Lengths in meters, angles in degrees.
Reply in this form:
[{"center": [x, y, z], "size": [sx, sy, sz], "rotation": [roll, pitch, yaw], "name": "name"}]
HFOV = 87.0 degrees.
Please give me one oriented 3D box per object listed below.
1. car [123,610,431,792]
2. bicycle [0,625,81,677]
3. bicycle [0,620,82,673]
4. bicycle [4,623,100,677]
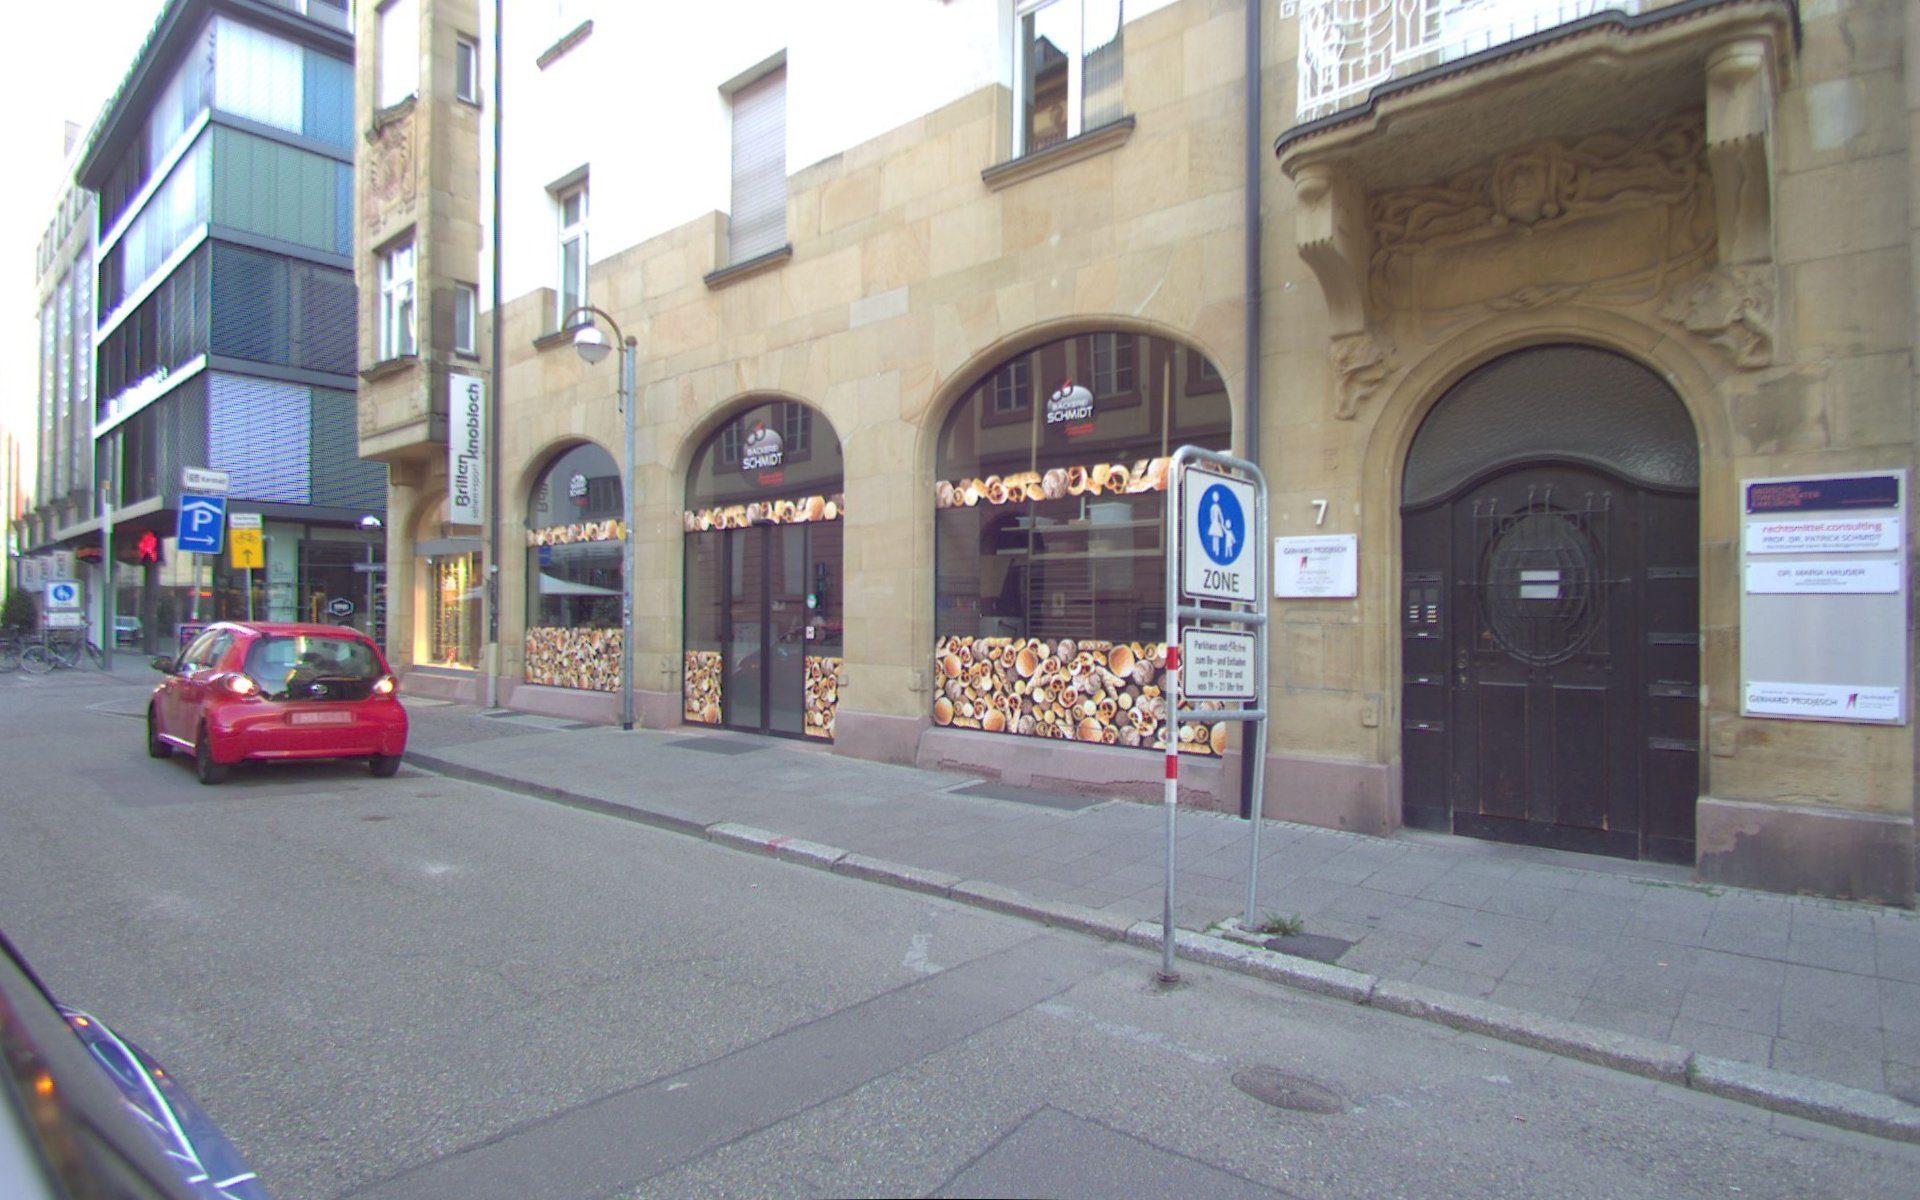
[{"center": [-7.056, 0.915, 10.302], "size": [3.931, 1.481, 1.640], "rotation": [0, -5, 43], "name": "car"}, {"center": [-23.028, 1.268, 25.020], "size": [0.517, 1.190, 1.878], "rotation": [-3, -1, 40], "name": "bicycle"}, {"center": [-24.848, 1.236, 27.113], "size": [0.538, 1.279, 1.878], "rotation": [-1, 2, 42], "name": "bicycle"}, {"center": [-21.709, 1.180, 24.218], "size": [0.509, 1.213, 1.648], "rotation": [-1, 0, 40], "name": "bicycle"}]
